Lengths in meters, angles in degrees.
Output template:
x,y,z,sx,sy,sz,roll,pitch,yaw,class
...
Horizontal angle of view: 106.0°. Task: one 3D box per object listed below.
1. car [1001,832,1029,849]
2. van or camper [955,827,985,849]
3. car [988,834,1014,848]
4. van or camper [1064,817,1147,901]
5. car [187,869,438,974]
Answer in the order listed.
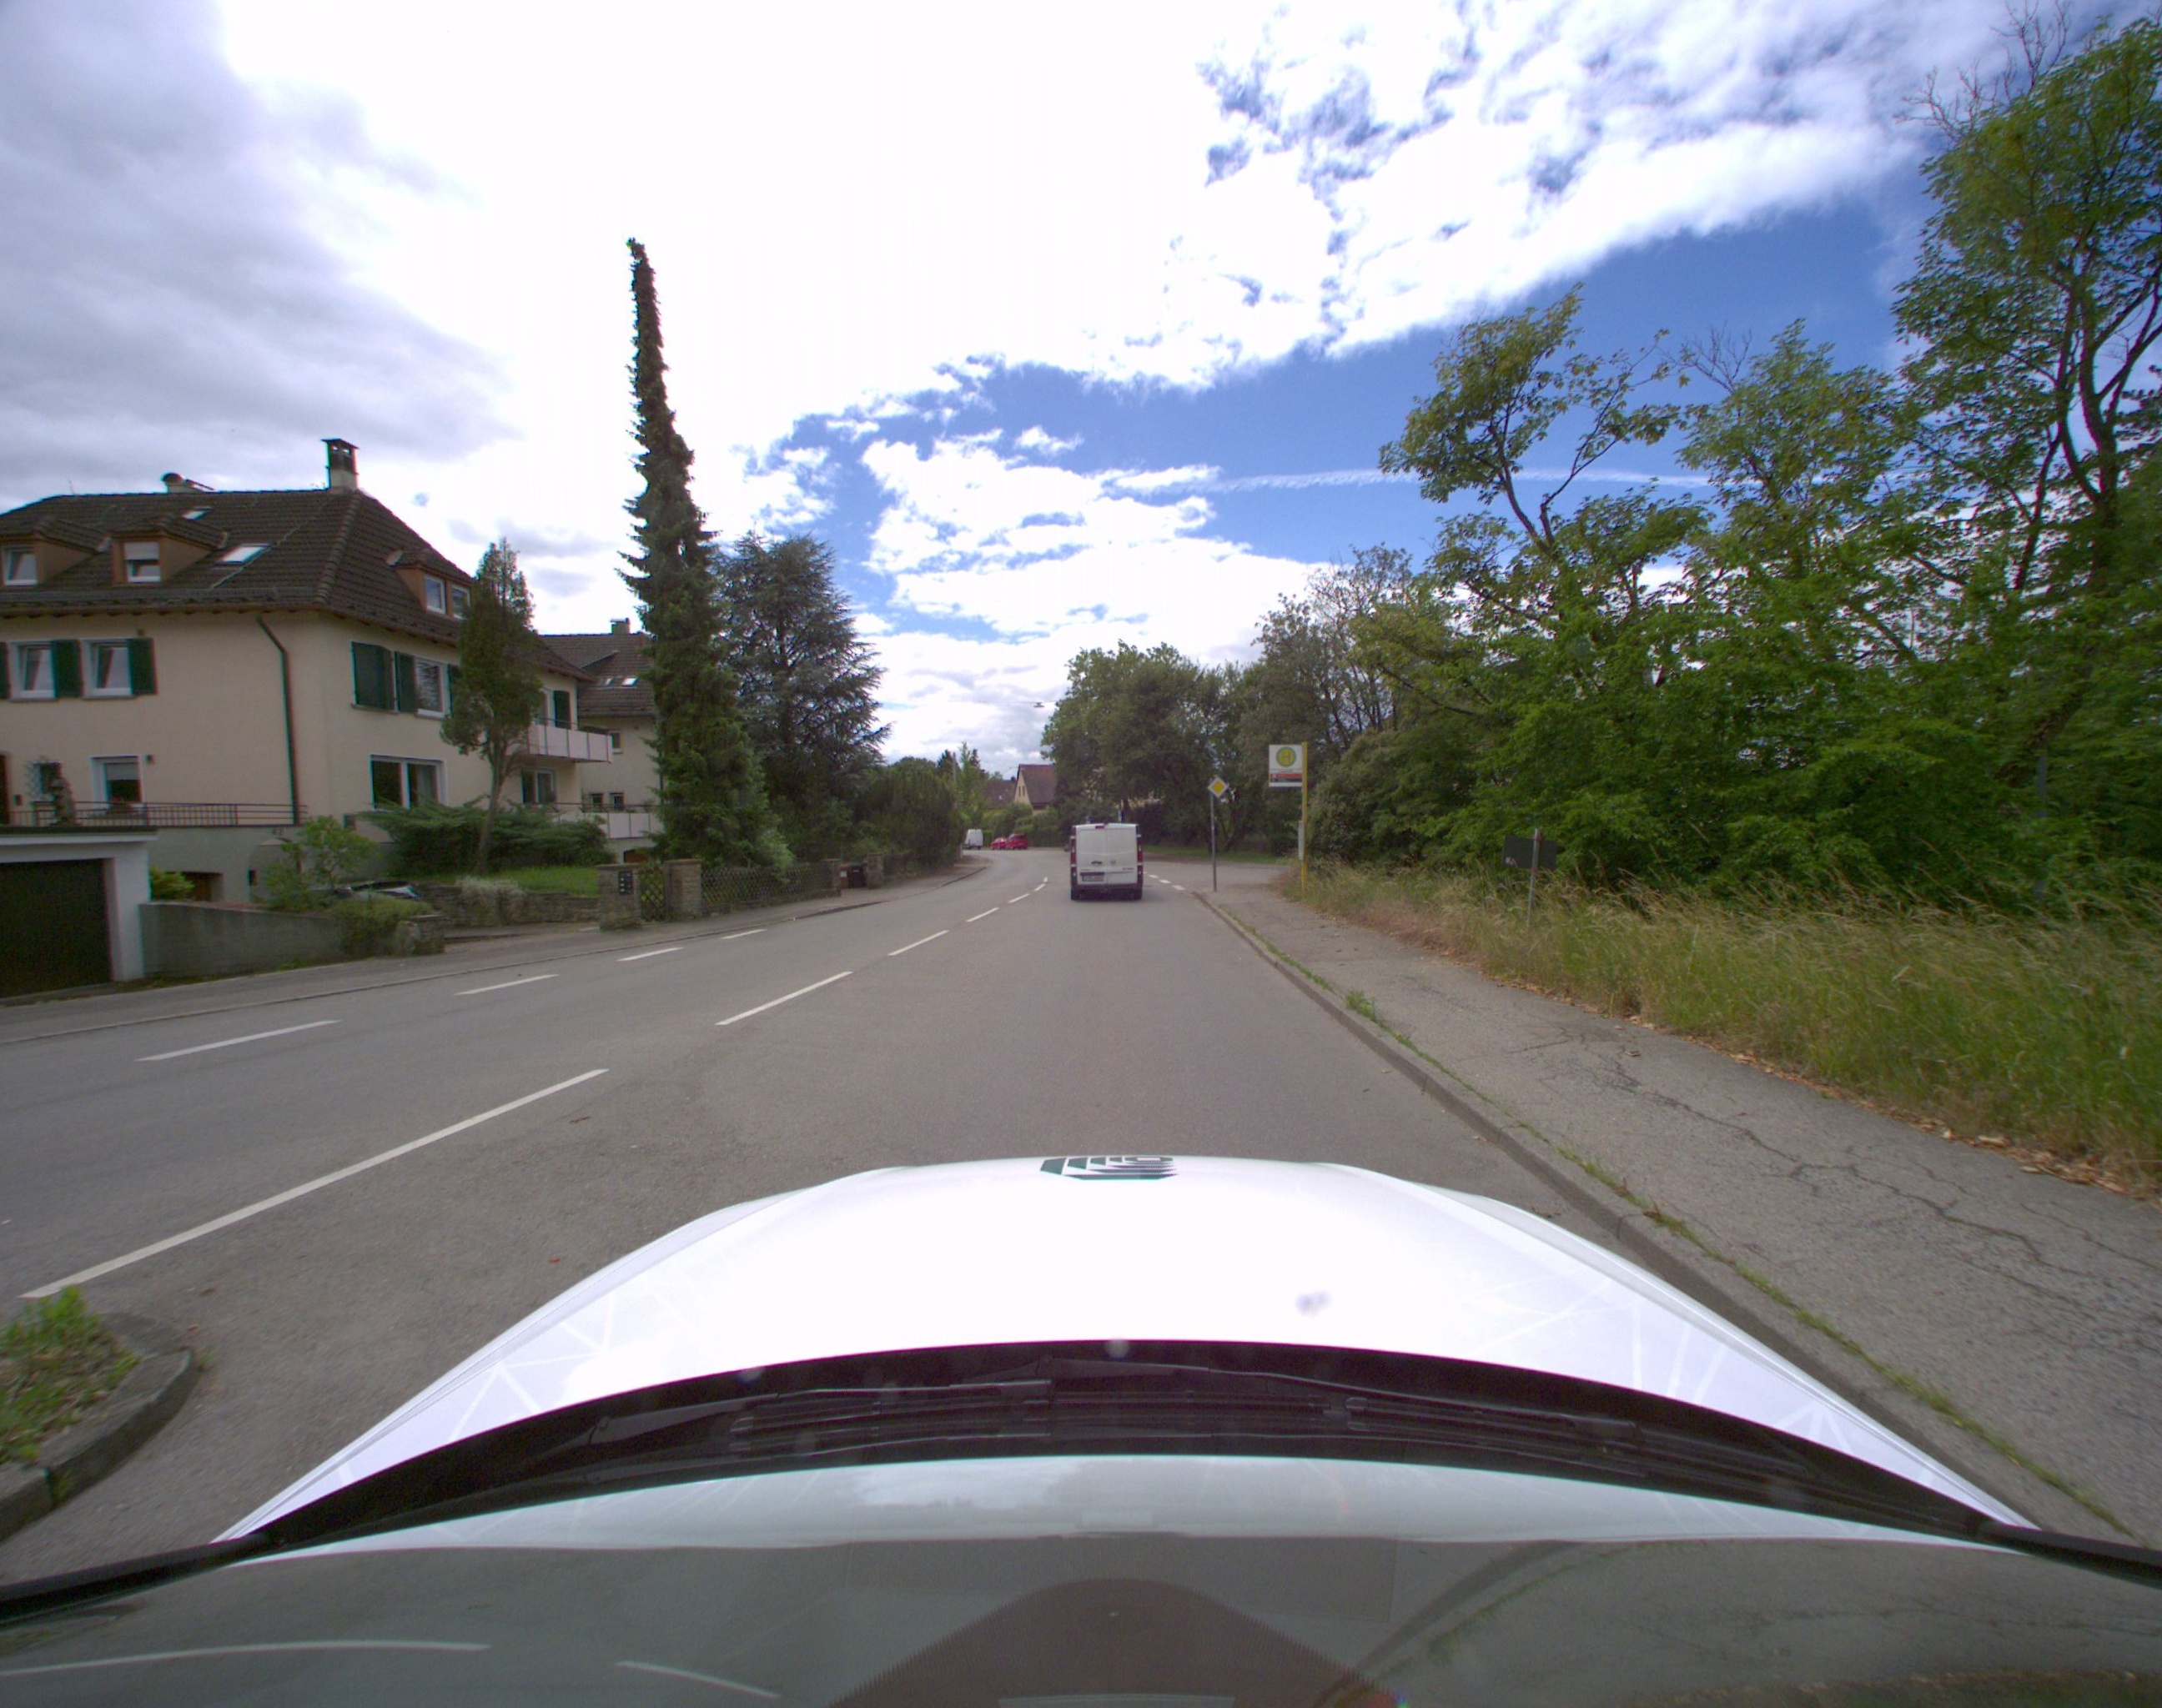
x,y,z,sx,sy,sz,roll,pitch,yaw,class
-7.344,-1.477,90.415,1.767,1.797,4.914,-2,1,-21,car
-14.748,-2.123,108.067,2.077,2.674,6.277,-3,2,-25,van or camper
-9.382,-1.517,95.461,1.721,1.467,4.233,-2,2,-25,car
0.549,0.020,22.433,1.919,2.013,4.826,-1,3,-3,van or camper
-15.116,1.295,16.113,3.334,1.537,1.835,-6,2,10,car
